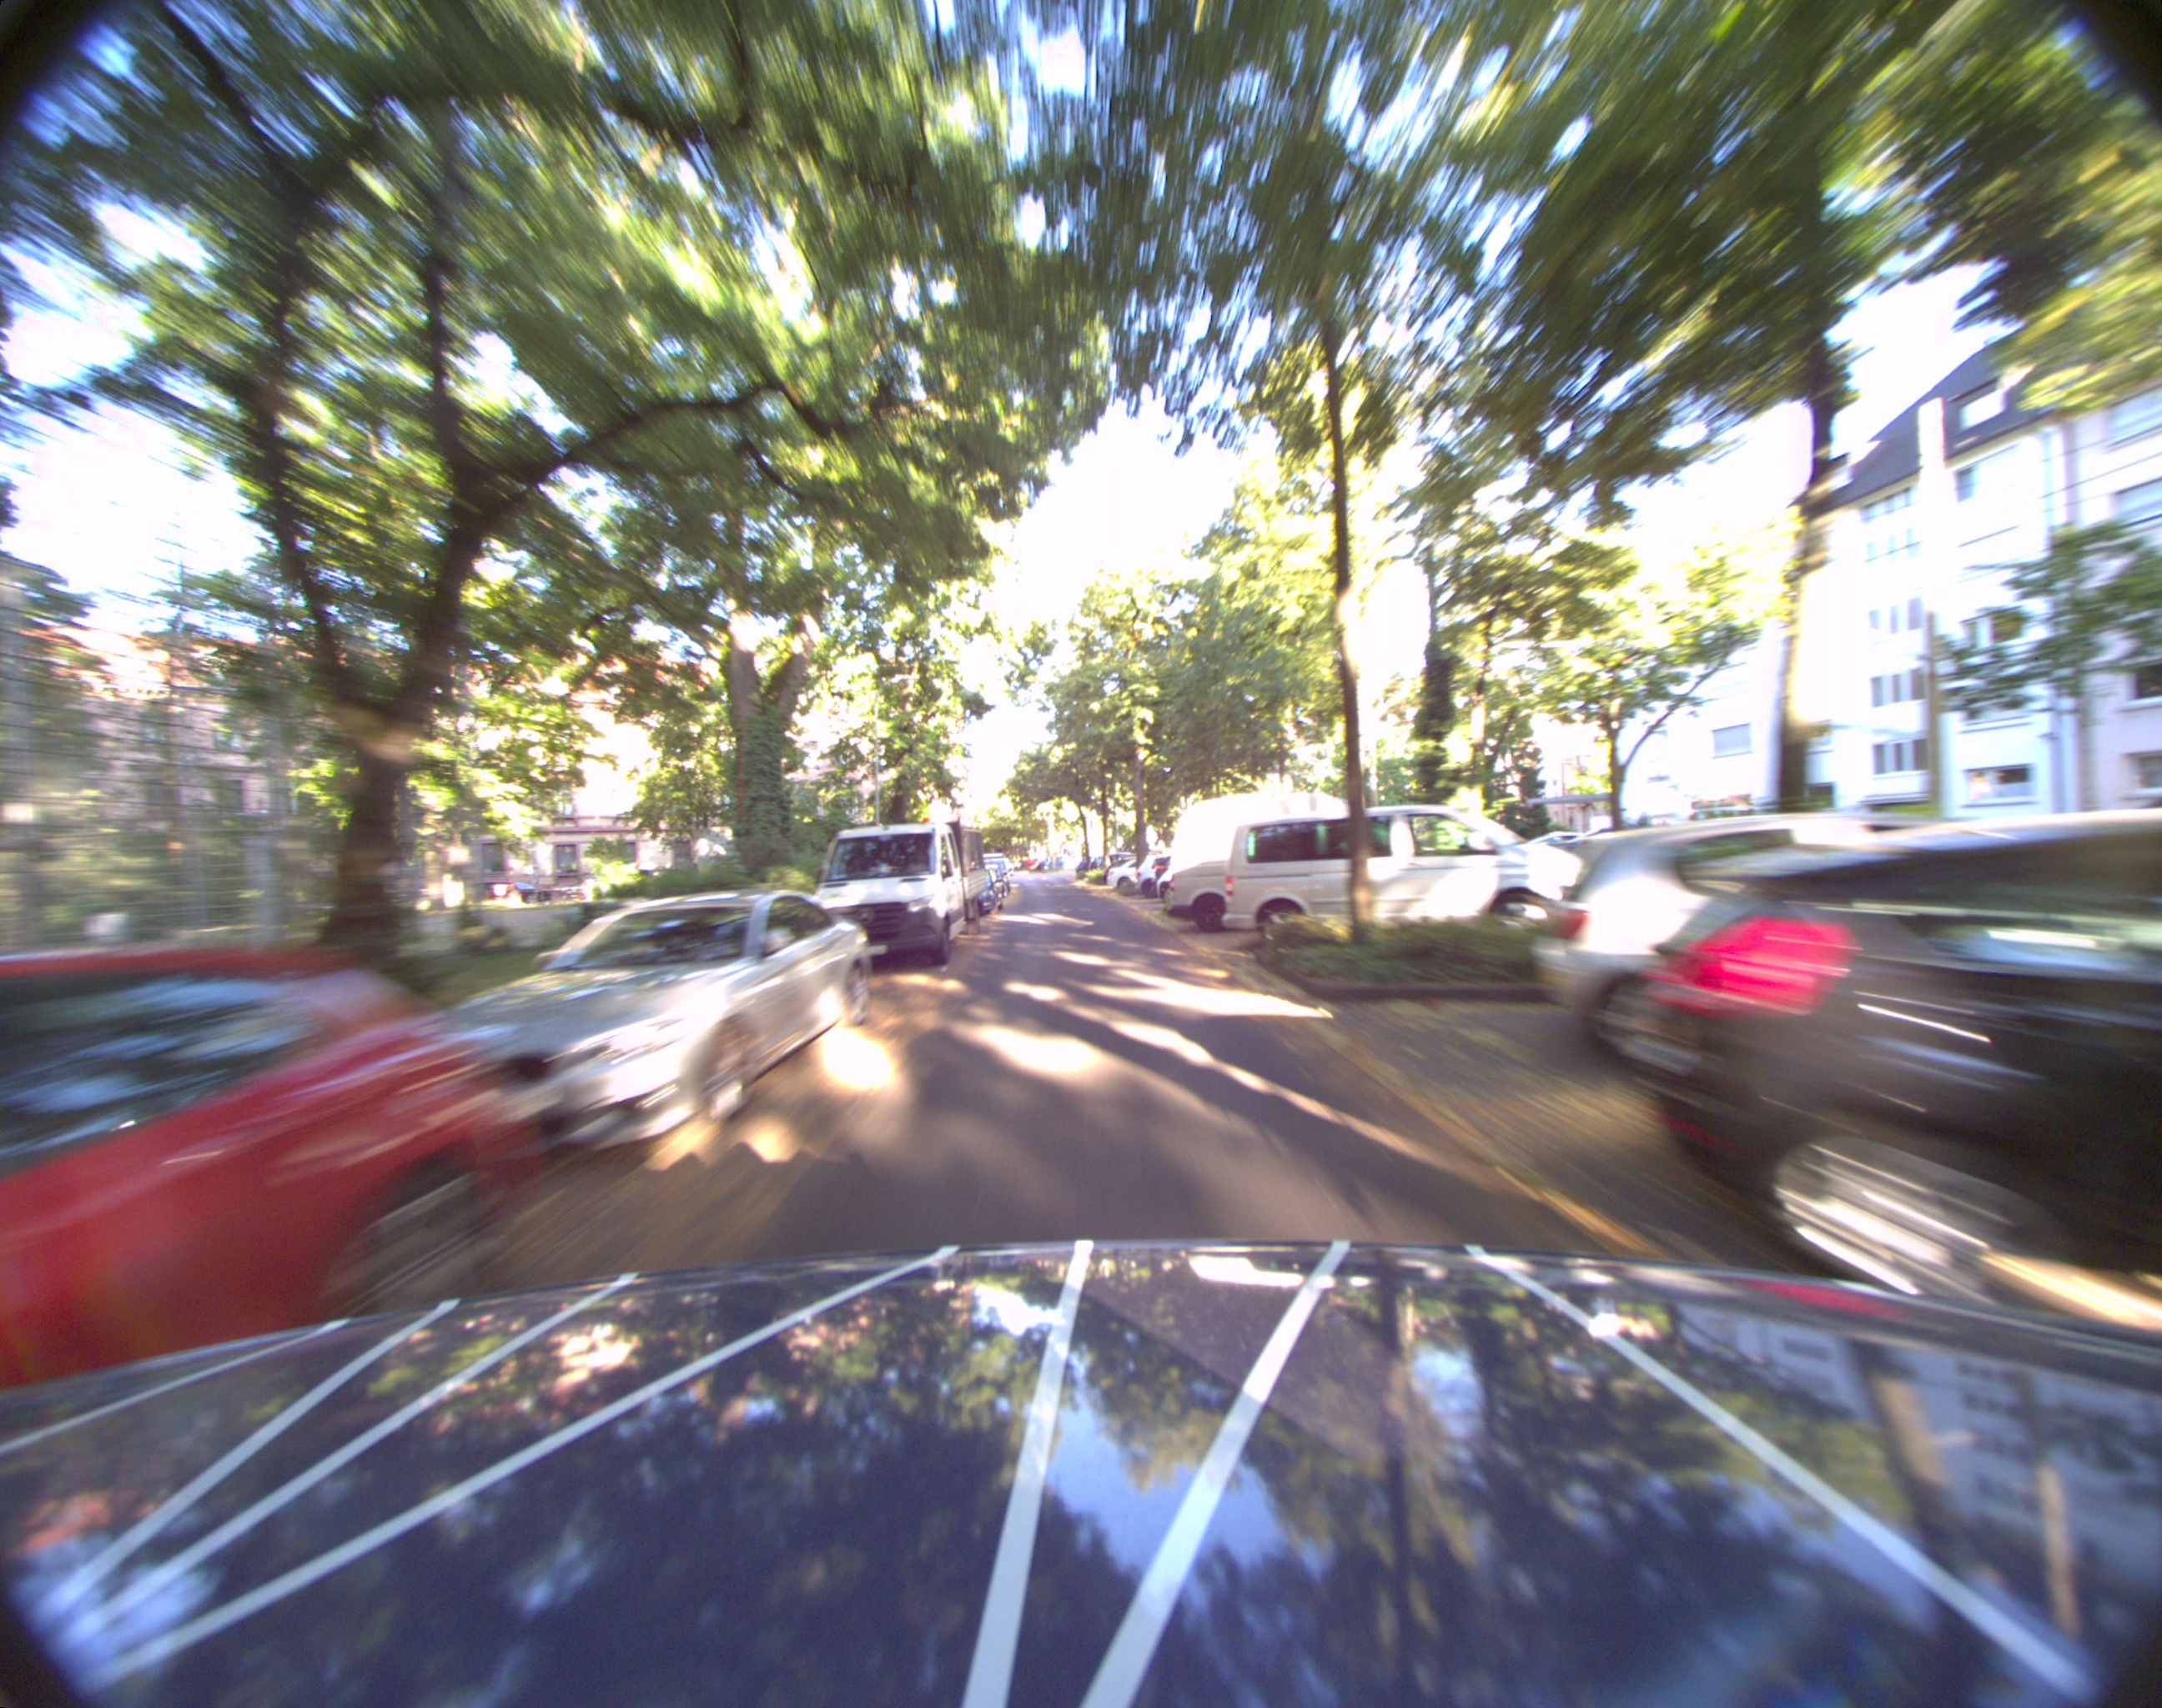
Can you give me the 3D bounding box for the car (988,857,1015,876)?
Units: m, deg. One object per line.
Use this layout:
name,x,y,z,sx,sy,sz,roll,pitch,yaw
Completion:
car,-7.662,1.182,72.986,1.943,1.613,4.239,-6,1,-12

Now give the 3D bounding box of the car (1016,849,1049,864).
car,-6.952,0.311,109.346,4.236,1.658,1.636,-6,2,17

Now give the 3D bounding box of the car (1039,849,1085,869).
car,-2.041,0.525,80.995,4.435,1.613,1.636,-6,2,17

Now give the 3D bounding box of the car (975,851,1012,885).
car,-5.609,0.825,48.129,1.972,1.924,5.451,-3,0,-9

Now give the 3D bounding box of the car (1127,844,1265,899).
car,3.961,0.613,26.194,4.234,1.432,1.859,-5,1,26

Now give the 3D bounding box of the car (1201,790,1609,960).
car,4.492,0.359,10.973,4.875,1.966,2.048,-5,1,30

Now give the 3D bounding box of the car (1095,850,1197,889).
car,3.024,0.741,35.315,4.305,1.396,1.746,-5,0,23

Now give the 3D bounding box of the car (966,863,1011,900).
car,-4.016,1.147,33.607,1.677,1.382,4.264,-3,0,-4

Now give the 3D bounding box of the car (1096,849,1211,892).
car,3.126,0.708,32.700,4.456,1.396,1.860,-5,0,26

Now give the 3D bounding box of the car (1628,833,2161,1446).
car,3.958,0.669,2.137,3.815,1.430,1.828,-5,1,35

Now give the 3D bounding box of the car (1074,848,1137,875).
car,1.699,0.542,52.938,3.889,1.440,1.636,-5,2,23

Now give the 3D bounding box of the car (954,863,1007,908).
car,-3.753,1.139,28.898,1.677,1.450,3.892,-3,0,-4

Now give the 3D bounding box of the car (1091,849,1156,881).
car,2.473,0.623,44.561,3.346,1.559,1.574,-5,0,25

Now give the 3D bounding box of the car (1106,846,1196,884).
car,3.497,0.565,38.055,3.992,1.503,1.962,-5,0,21

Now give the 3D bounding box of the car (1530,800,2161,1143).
car,4.824,0.586,4.565,3.542,1.485,1.828,-5,1,30

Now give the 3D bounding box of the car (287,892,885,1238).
car,-2.988,1.150,5.883,1.676,1.389,4.299,-3,0,1

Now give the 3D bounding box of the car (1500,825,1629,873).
car,19.930,-0.183,31.541,4.309,1.807,1.816,-2,0,26

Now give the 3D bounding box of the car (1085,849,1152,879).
car,2.317,0.627,47.172,3.687,1.440,1.636,-5,2,23

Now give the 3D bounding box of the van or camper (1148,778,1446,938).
van or camper,4.019,0.144,14.271,4.875,2.456,2.048,-5,1,28

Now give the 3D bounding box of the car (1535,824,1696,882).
car,20.057,0.001,28.729,4.806,2.002,2.004,-2,0,35

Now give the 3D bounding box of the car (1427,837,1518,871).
car,19.277,0.005,37.521,3.873,1.436,1.857,-3,1,27

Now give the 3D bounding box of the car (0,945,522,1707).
car,-2.949,1.110,0.830,1.676,1.445,3.949,-3,0,0

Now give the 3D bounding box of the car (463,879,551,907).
car,-33.637,2.262,44.688,4.007,1.401,1.795,-1,0,-34

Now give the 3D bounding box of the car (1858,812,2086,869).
car,27.716,-0.363,23.905,1.855,1.487,4.417,-5,0,-1

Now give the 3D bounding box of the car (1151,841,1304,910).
car,3.943,0.597,20.550,3.542,1.485,1.828,-5,1,30

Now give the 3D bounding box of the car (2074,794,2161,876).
car,27.737,-0.533,18.235,1.855,1.982,4.417,-5,0,-1

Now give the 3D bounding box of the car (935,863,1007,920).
car,-3.277,1.059,23.206,1.677,1.450,3.892,-3,0,-2

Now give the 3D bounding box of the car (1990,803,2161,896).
car,19.905,-0.102,13.802,3.989,1.637,1.741,-2,0,32

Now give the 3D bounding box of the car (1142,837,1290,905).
car,4.180,0.523,23.471,4.032,1.653,1.859,-5,1,23

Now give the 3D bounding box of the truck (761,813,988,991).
truck,-3.311,0.659,14.117,2.302,2.372,6.933,-3,0,-1

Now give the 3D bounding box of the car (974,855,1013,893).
car,-4.394,0.957,38.736,1.792,1.698,4.374,-3,0,-5

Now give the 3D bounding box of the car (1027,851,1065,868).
car,-4.371,0.698,94.642,4.236,1.658,1.636,-6,2,17

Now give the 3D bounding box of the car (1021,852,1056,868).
car,-5.754,0.772,103.243,4.236,1.658,1.636,-6,2,17
